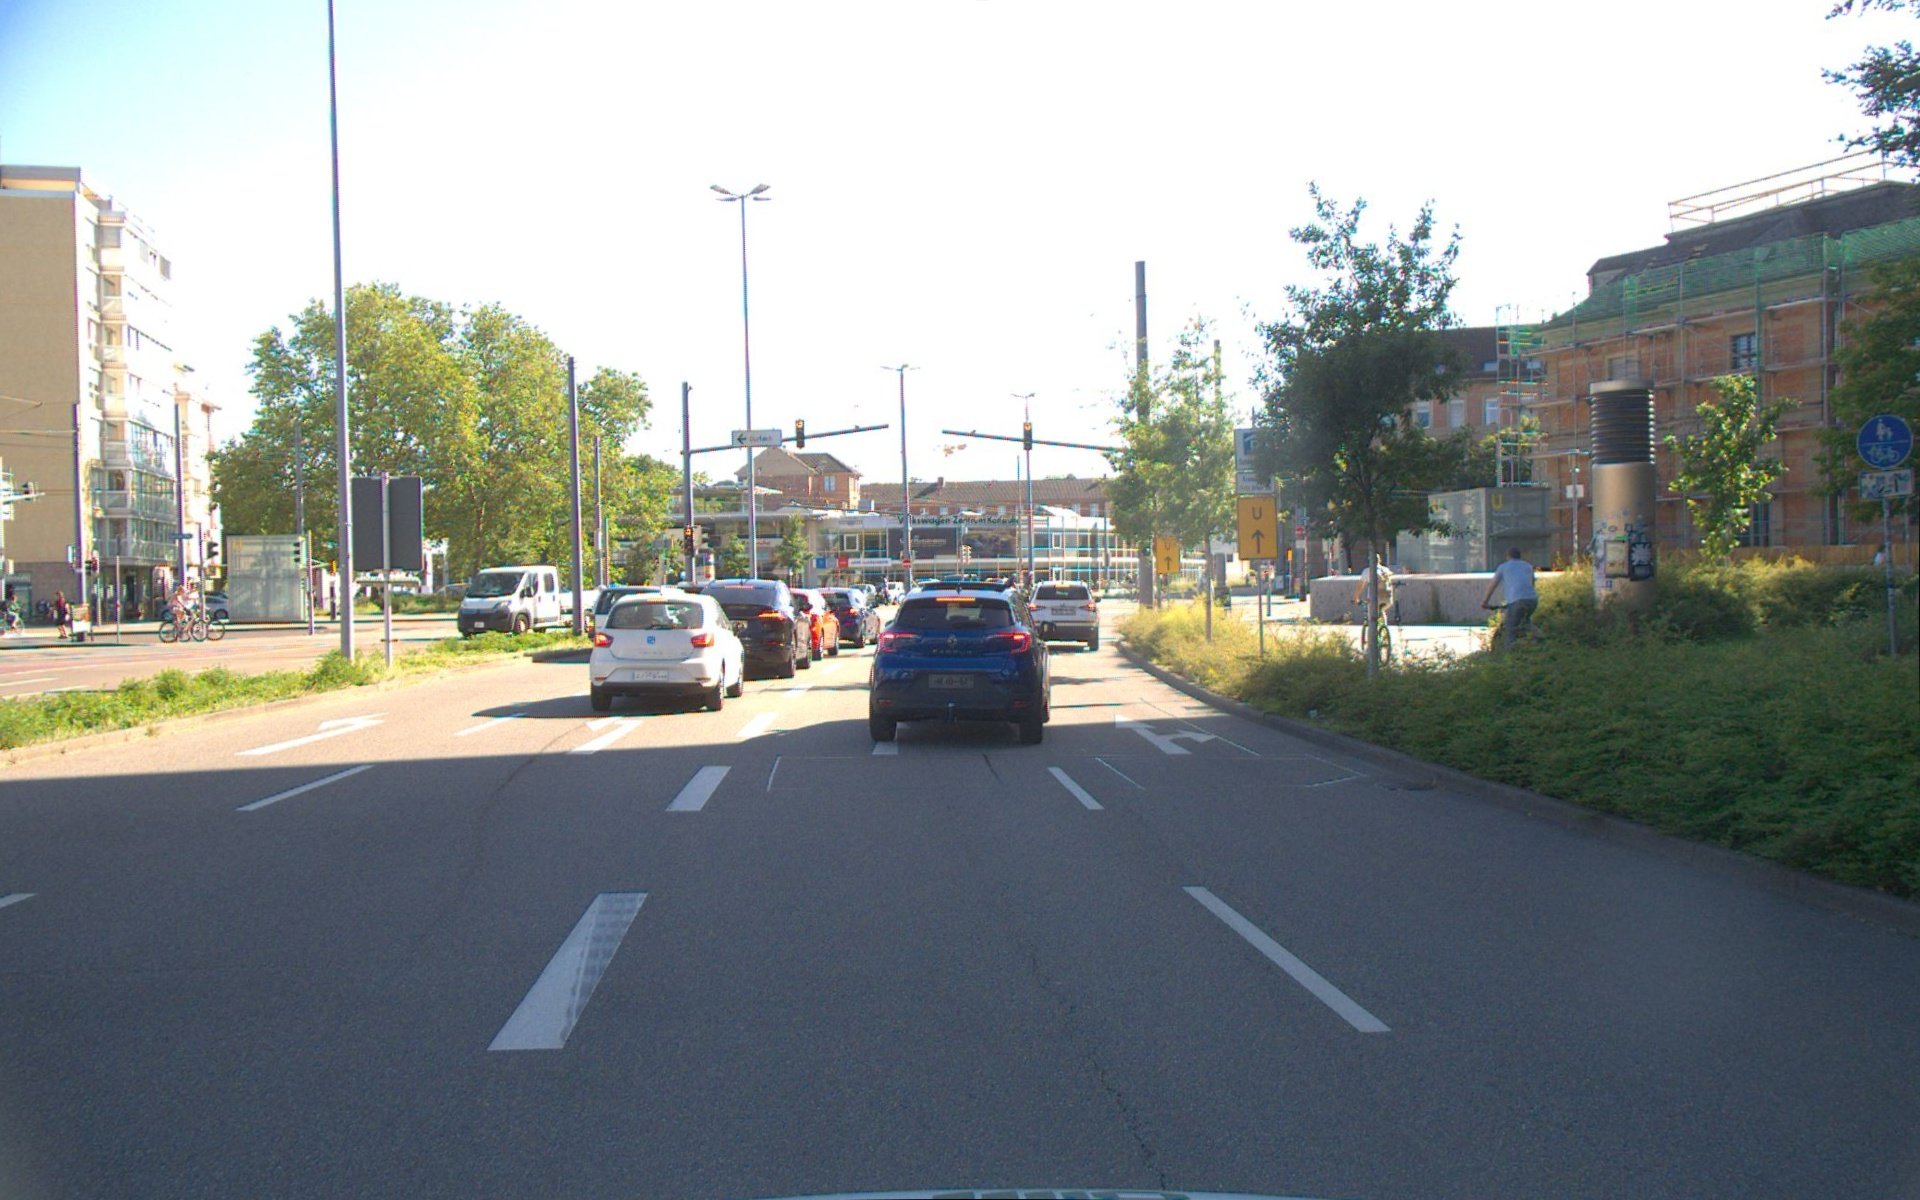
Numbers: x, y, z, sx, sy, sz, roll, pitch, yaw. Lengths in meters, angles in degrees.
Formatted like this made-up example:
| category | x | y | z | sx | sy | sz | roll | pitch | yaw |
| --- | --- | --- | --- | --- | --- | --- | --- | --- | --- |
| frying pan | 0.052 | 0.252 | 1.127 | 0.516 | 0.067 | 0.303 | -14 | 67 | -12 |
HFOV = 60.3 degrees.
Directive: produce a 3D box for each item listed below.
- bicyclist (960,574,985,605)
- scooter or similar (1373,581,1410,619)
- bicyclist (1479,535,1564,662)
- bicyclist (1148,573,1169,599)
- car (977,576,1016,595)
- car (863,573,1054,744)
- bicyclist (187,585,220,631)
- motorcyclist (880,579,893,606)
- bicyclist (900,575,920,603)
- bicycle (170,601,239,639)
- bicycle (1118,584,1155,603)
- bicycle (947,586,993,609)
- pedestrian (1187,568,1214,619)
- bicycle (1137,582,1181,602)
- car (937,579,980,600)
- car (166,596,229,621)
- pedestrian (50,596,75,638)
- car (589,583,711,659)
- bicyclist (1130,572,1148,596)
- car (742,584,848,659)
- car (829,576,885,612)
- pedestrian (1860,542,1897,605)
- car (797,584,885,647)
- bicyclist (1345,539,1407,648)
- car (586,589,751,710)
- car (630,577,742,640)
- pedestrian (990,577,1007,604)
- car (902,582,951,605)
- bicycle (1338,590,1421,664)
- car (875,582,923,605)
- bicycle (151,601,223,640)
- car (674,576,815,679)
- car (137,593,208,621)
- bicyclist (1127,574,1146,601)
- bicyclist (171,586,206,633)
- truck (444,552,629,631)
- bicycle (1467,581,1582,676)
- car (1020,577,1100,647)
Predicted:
| category | x | y | z | sx | sy | sz | roll | pitch | yaw |
| --- | --- | --- | --- | --- | --- | --- | --- | --- | --- |
| bicyclist | 0.734 | -0.622 | 97.284 | 1.167 | 1.807 | 0.941 | -1 | 3 | -22 |
| scooter or similar | 12.652 | -0.006 | 48.498 | 0.460 | 1.030 | 1.243 | -1 | 3 | -18 |
| bicyclist | 7.492 | -0.025 | 22.108 | 0.706 | 1.645 | 0.976 | -1 | 1 | -7 |
| bicyclist | 12.563 | -0.885 | 104.501 | 1.045 | 1.611 | 0.944 | -1 | 3 | -14 |
| car | 2.871 | -1.108 | 128.265 | 1.689 | 1.467 | 4.184 | 1 | 1 | 21 |
| car | 0.092 | 0.574 | 18.008 | 1.837 | 1.646 | 3.799 | 0 | 0 | 3 |
| bicyclist | -24.140 | 0.258 | 52.772 | 0.758 | 1.469 | 0.643 | 0 | 0 | 1 |
| motorcyclist | -4.581 | -0.468 | 102.870 | 0.538 | 1.649 | 0.745 | -1 | 0 | 17 |
| bicyclist | -2.971 | -0.663 | 98.463 | 1.045 | 1.611 | 0.944 | -1 | 3 | -14 |
| bicycle | -24.100 | 0.624 | 52.761 | 1.910 | 1.185 | 0.643 | 0 | 0 | 1 |
| bicycle | 10.970 | -0.418 | 102.915 | 2.141 | 1.114 | 0.756 | -1 | 0 | -14 |
| bicycle | 0.589 | -0.156 | 97.228 | 2.610 | 1.209 | 0.941 | -1 | 3 | -23 |
| pedestrian | 8.375 | -0.214 | 57.661 | 0.584 | 1.753 | 0.867 | -2 | -2 | 36 |
| bicycle | 12.567 | -0.502 | 104.595 | 2.602 | 1.209 | 0.944 | -1 | 3 | -15 |
| car | -0.089 | -0.792 | 121.546 | 1.689 | 1.467 | 4.184 | 1 | 1 | 21 |
| car | -45.270 | 0.504 | 98.272 | 3.211 | 1.339 | 1.518 | -1 | 3 | -18 |
| pedestrian | -31.433 | 0.603 | 57.919 | 0.583 | 1.432 | 0.567 | -1 | 2 | -14 |
| car | -6.417 | 0.394 | 34.597 | 1.689 | 1.467 | 3.800 | 1 | 1 | 2 |
| bicyclist | 10.919 | -0.976 | 101.078 | 0.942 | 1.474 | 0.968 | -1 | 0 | -2 |
| car | -3.450 | 0.409 | 35.169 | 1.636 | 1.467 | 3.723 | 1 | 1 | 4 |
| car | -6.428 | -0.424 | 103.515 | 1.953 | 2.048 | 4.001 | 1 | 3 | 22 |
| pedestrian | 26.554 | -0.774 | 47.820 | 0.527 | 1.782 | 0.786 | -1 | 2 | -14 |
| car | -2.947 | 0.351 | 41.562 | 1.689 | 1.467 | 3.801 | 1 | 1 | 4 |
| bicyclist | 7.060 | -0.115 | 28.109 | 0.706 | 1.793 | 0.976 | -1 | 1 | -6 |
| car | -3.770 | 0.584 | 21.911 | 1.657 | 1.461 | 3.735 | 0 | 0 | -2 |
| car | -6.797 | 0.174 | 41.440 | 1.688 | 1.467 | 3.913 | 1 | 1 | 7 |
| pedestrian | 2.362 | -0.571 | 102.384 | 0.691 | 1.638 | 0.847 | 2 | 3 | 41 |
| car | -2.168 | -0.432 | 107.375 | 1.689 | 1.467 | 4.185 | -1 | 0 | 21 |
| bicycle | 7.081 | 0.432 | 28.028 | 0.731 | 1.185 | 1.868 | -1 | 1 | -7 |
| car | -4.077 | -0.420 | 110.446 | 1.689 | 1.467 | 4.185 | -1 | 0 | 21 |
| bicycle | -24.140 | 0.627 | 51.665 | 1.910 | 1.185 | 0.643 | 0 | 0 | 1 |
| car | -3.680 | 0.423 | 28.992 | 1.943 | 1.652 | 4.377 | 0 | 0 | -1 |
| car | -44.726 | 0.390 | 94.036 | 3.377 | 1.537 | 1.685 | -1 | 0 | -17 |
| bicyclist | 10.989 | -0.781 | 102.921 | 0.969 | 1.632 | 0.756 | -1 | 0 | -14 |
| bicyclist | -24.101 | 0.288 | 51.660 | 0.758 | 1.469 | 0.643 | 0 | 0 | 2 |
| truck | -13.486 | -0.299 | 53.284 | 2.169 | 2.354 | 6.884 | -1 | 0 | 21 |
| bicycle | 7.501 | 0.356 | 22.064 | 0.702 | 1.185 | 1.868 | -1 | 1 | -6 |
| car | 2.511 | 0.276 | 40.893 | 1.837 | 1.646 | 3.627 | 1 | 0 | 5 |
